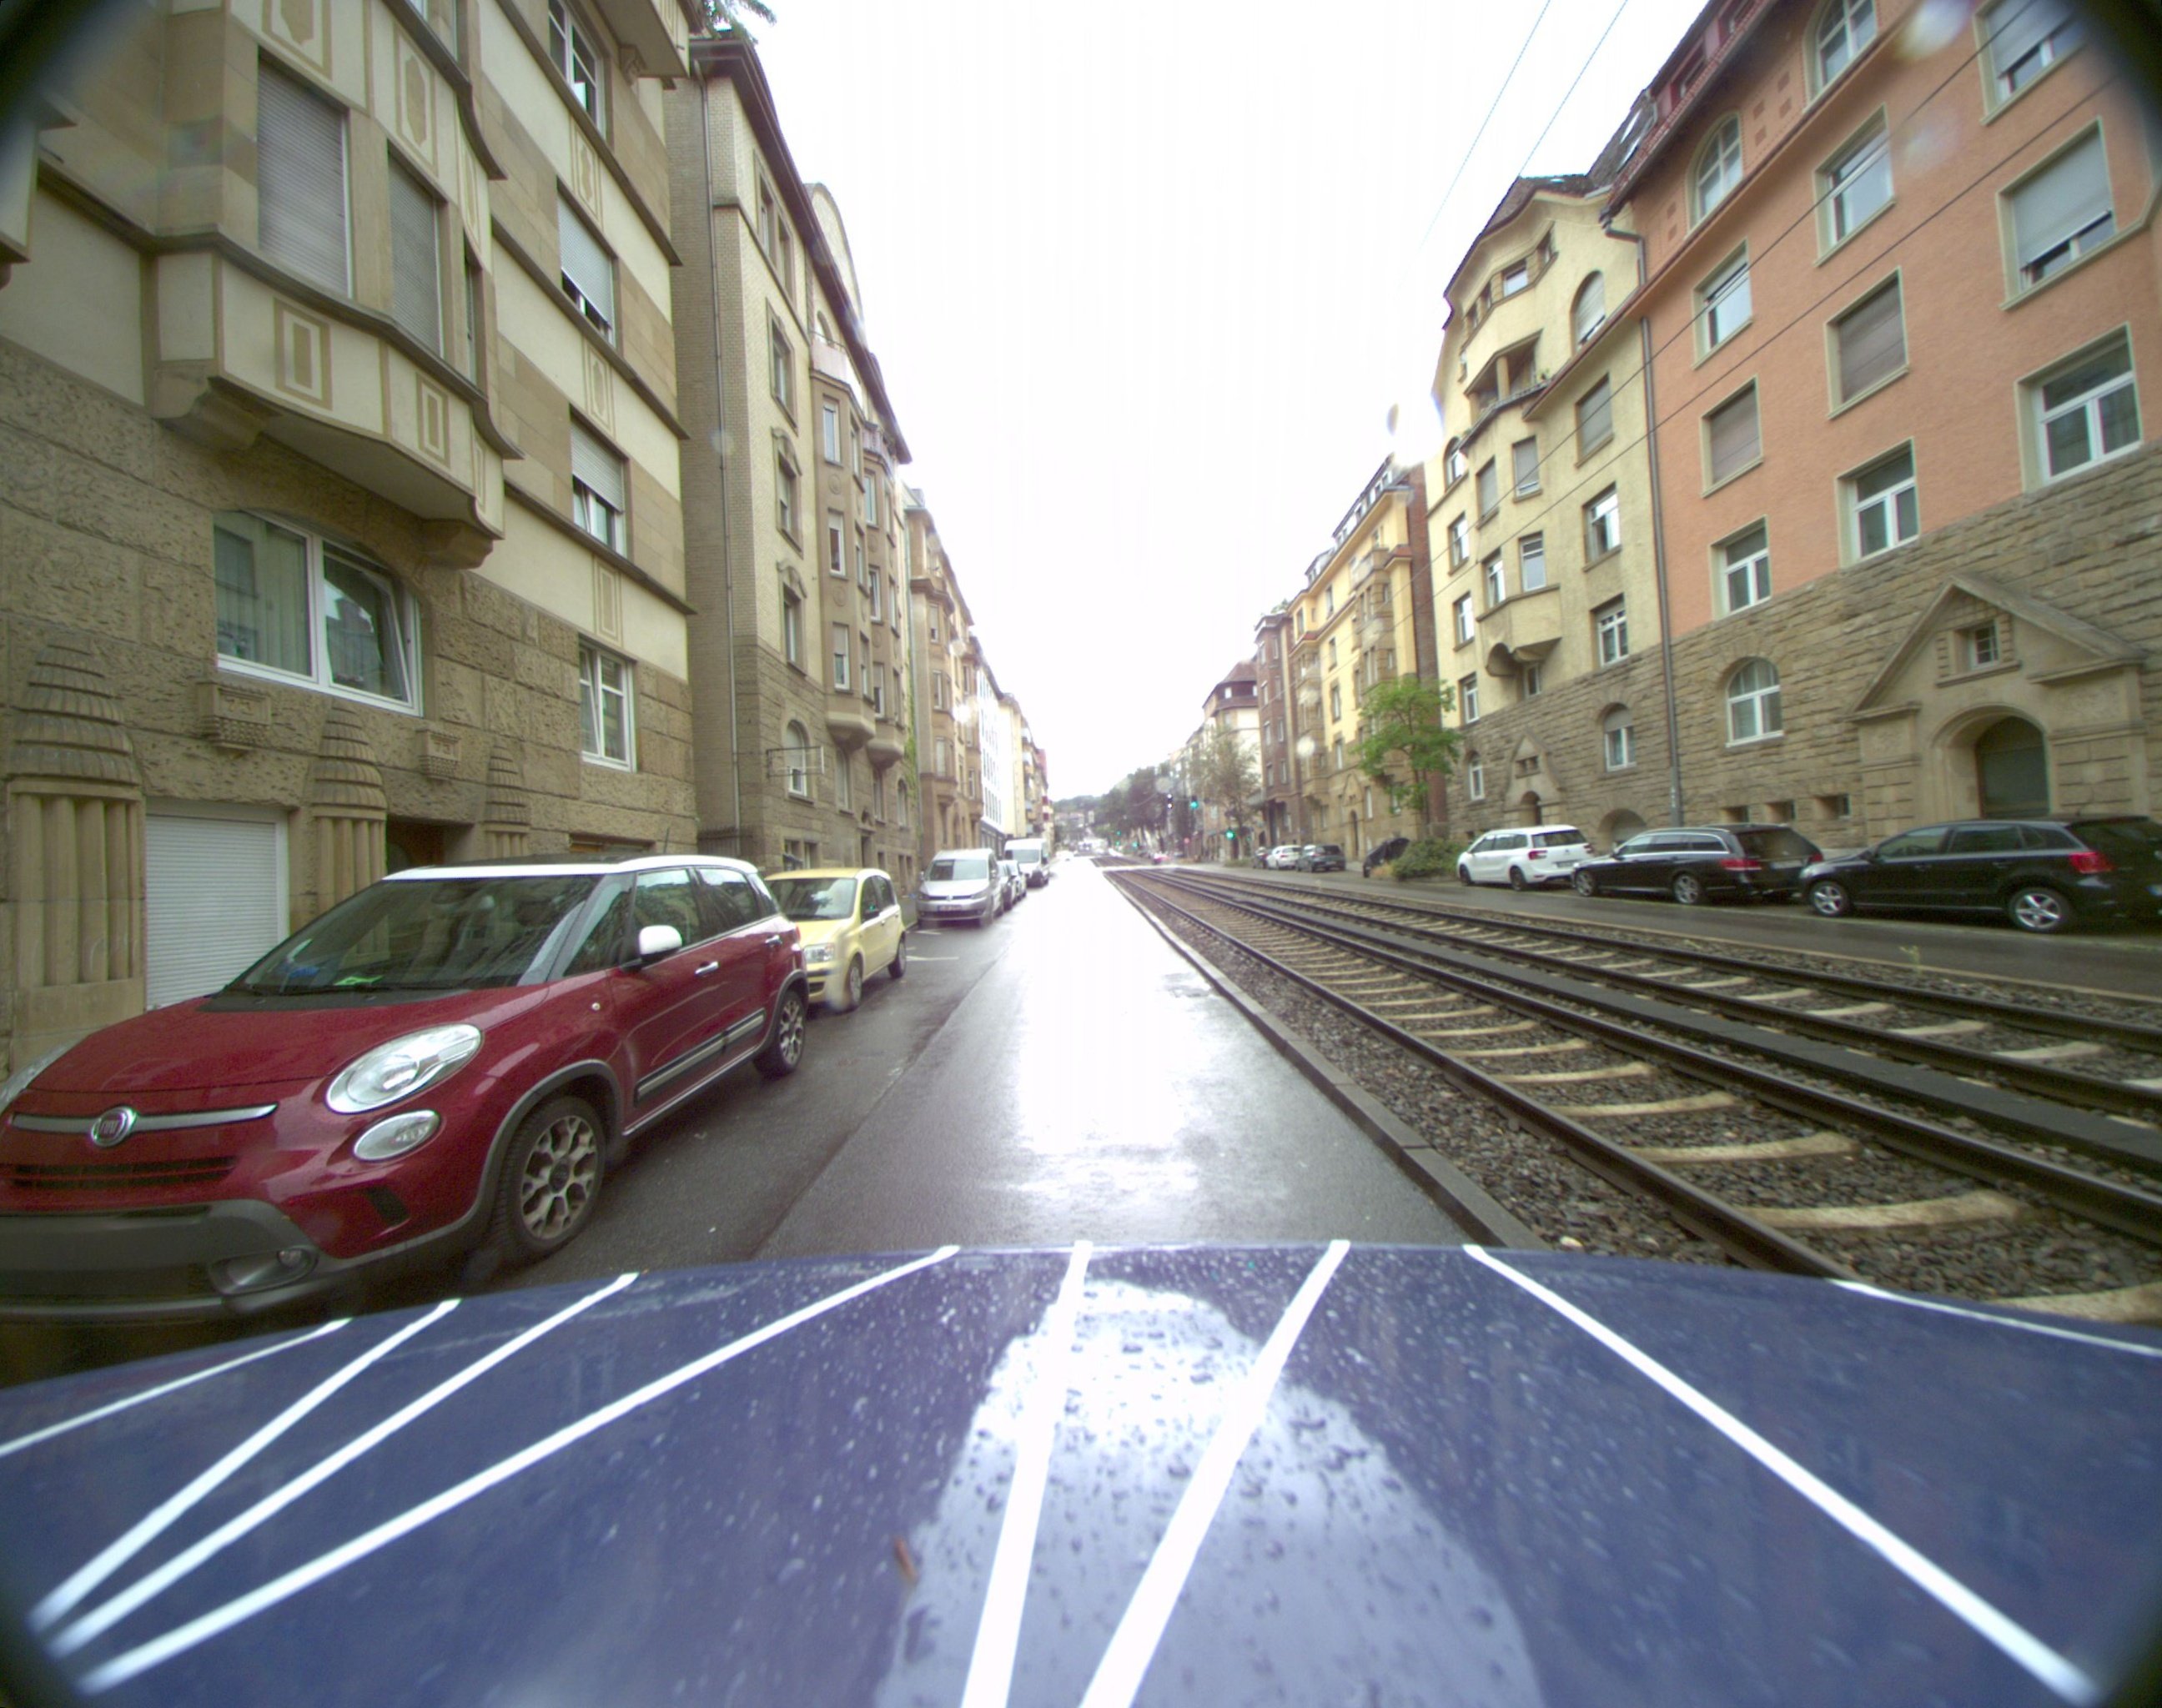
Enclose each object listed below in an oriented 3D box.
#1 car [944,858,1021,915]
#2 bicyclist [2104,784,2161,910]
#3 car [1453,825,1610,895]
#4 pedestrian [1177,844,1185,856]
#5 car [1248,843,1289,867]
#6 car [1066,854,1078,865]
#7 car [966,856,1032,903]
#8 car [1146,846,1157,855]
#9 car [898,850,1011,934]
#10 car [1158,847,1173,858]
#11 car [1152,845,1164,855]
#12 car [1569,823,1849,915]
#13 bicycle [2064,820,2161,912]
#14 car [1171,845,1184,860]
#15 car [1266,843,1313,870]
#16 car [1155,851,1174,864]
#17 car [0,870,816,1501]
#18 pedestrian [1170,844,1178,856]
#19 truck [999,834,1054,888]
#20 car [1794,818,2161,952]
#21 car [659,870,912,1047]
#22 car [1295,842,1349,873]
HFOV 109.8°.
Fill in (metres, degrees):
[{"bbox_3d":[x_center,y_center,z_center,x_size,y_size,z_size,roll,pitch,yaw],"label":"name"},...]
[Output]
[{"bbox_3d":[-2.977,0.934,23.790,1.999,1.521,3.999,-3,0,-3],"label":"car"},{"bbox_3d":[14.459,-0.114,9.729,0.886,1.588,1.253,-8,1,3],"label":"bicyclist"},{"bbox_3d":[12.261,0.139,21.023,1.867,1.646,4.146,-3,0,1],"label":"car"},{"bbox_3d":[16.338,-0.679,124.560,1.056,1.946,1.163,-3,1,2],"label":"pedestrian"},{"bbox_3d":[12.466,0.071,50.724,1.771,1.433,3.845,-3,0,1],"label":"car"},{"bbox_3d":[-1.562,0.919,138.410,1.998,1.838,4.000,-3,0,1],"label":"car"},{"bbox_3d":[-2.966,0.877,28.291,1.891,1.521,3.929,-3,0,1],"label":"car"},{"bbox_3d":[12.409,-0.632,133.681,1.632,1.537,3.801,-3,0,1],"label":"car"},{"bbox_3d":[-3.022,0.844,19.174,1.968,1.792,4.459,-3,0,1],"label":"car"},{"bbox_3d":[12.846,-0.275,115.342,1.771,1.507,3.845,-3,0,1],"label":"car"},{"bbox_3d":[12.814,-0.632,126.812,1.657,1.589,3.775,-3,0,1],"label":"car"},{"bbox_3d":[12.280,0.251,15.361,1.847,1.486,4.601,-3,0,1],"label":"car"},{"bbox_3d":[14.515,0.141,9.896,0.825,1.179,2.038,-3,0,4],"label":"bicycle"},{"bbox_3d":[12.651,-0.233,99.522,1.583,1.669,3.790,-3,2,7],"label":"car"},{"bbox_3d":[12.457,0.124,45.630,1.771,1.433,4.031,-3,0,2],"label":"car"},{"bbox_3d":[9.983,0.404,91.336,1.807,1.514,4.964,-2,0,1],"label":"car"},{"bbox_3d":[-3.043,0.973,4.067,1.807,1.590,3.999,-3,0,-1],"label":"car"},{"bbox_3d":[15.205,-0.640,124.566,1.056,1.946,1.163,-3,1,2],"label":"pedestrian"},{"bbox_3d":[-2.738,0.338,39.920,2.235,2.521,6.143,-3,0,1],"label":"truck"},{"bbox_3d":[12.518,0.319,10.443,1.935,1.488,3.641,-2,1,-2],"label":"car"},{"bbox_3d":[-3.200,1.036,9.015,1.580,1.520,3.578,-3,0,-1],"label":"car"},{"bbox_3d":[12.490,0.134,39.591,1.678,1.433,3.845,-4,1,3],"label":"car"}]
